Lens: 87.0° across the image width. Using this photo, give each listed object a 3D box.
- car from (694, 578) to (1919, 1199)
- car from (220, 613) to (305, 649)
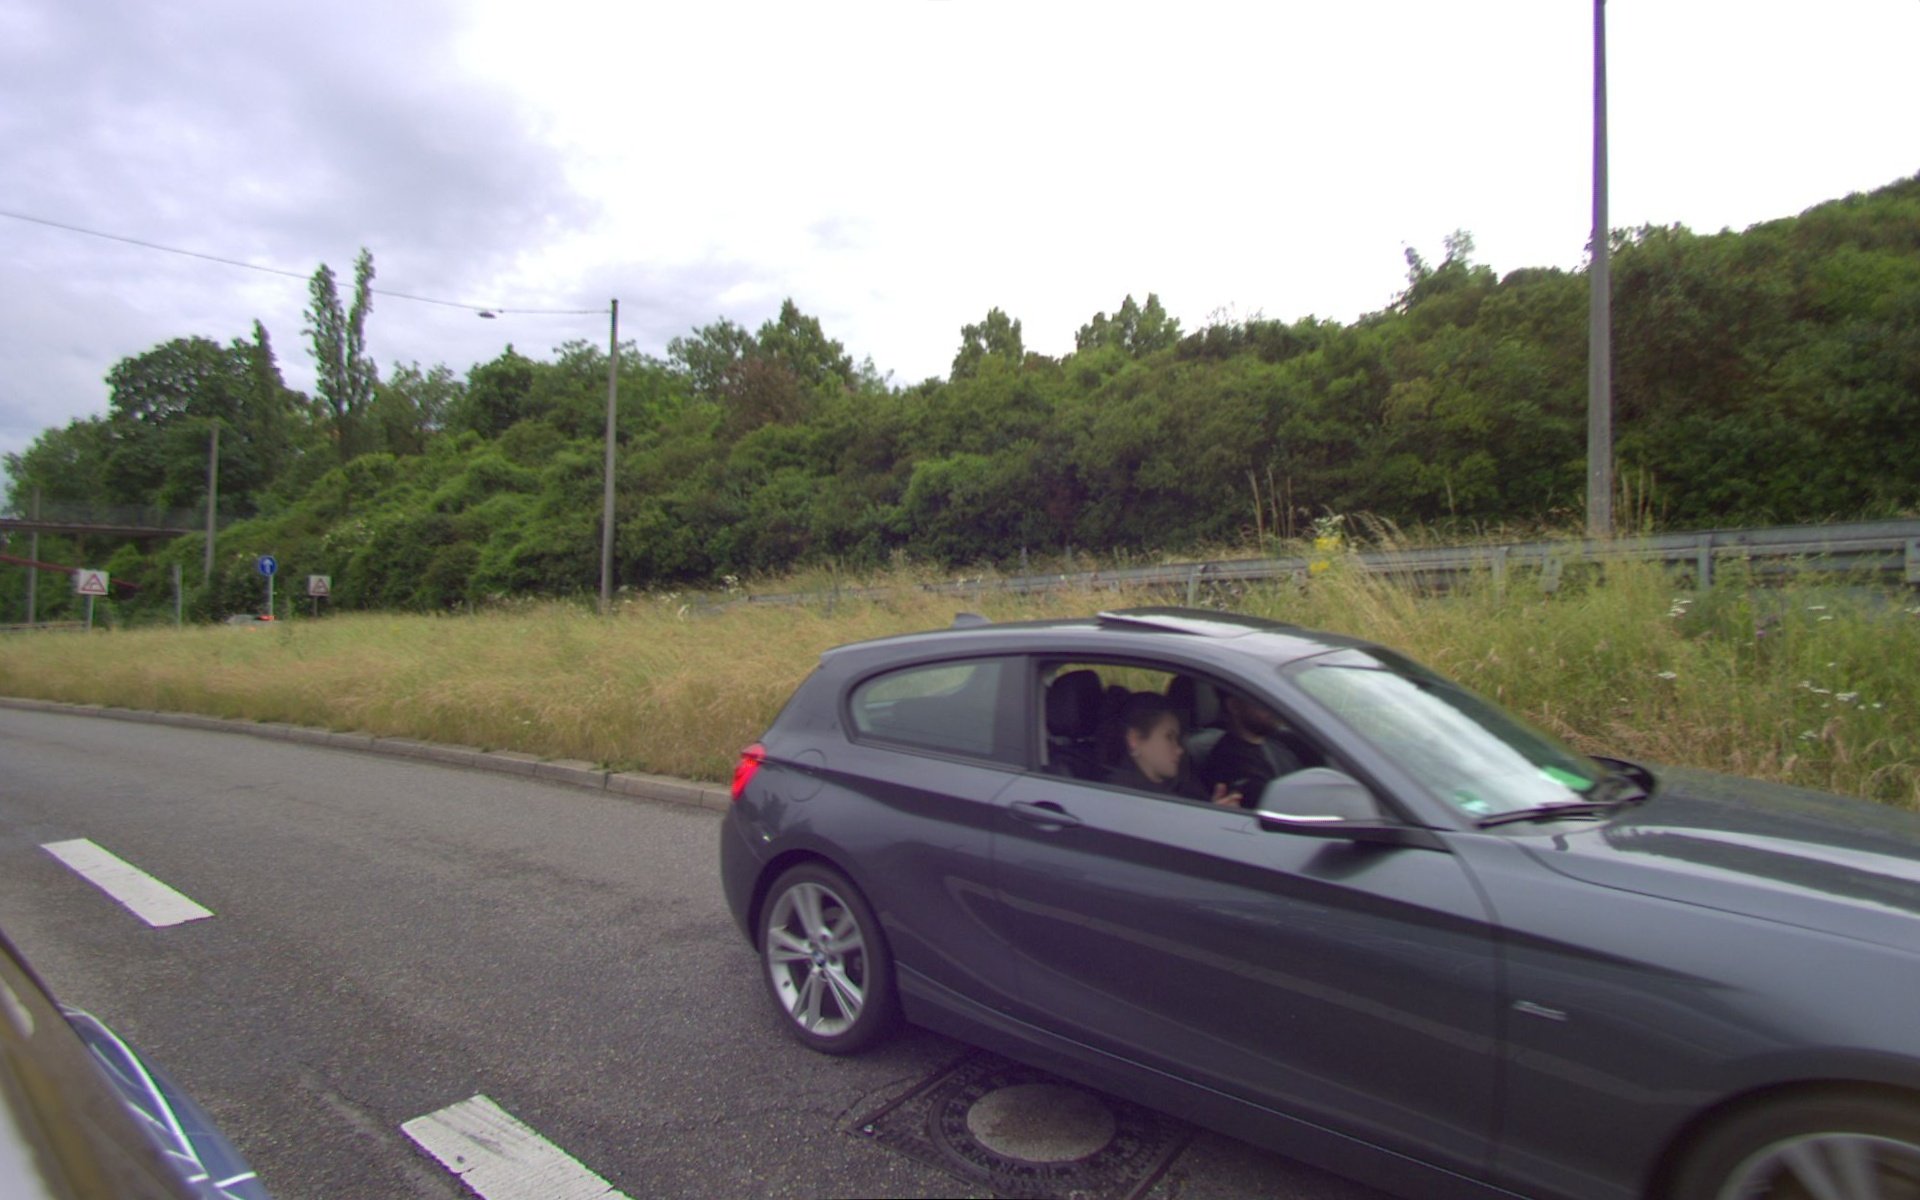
[{"bbox_3d":[1.140,0.707,3.048,4.110,1.471,1.686,-1,0,39],"label":"car"},{"bbox_3d":[-30.212,1.304,43.812,4.282,1.464,1.973,-1,0,40],"label":"car"}]
